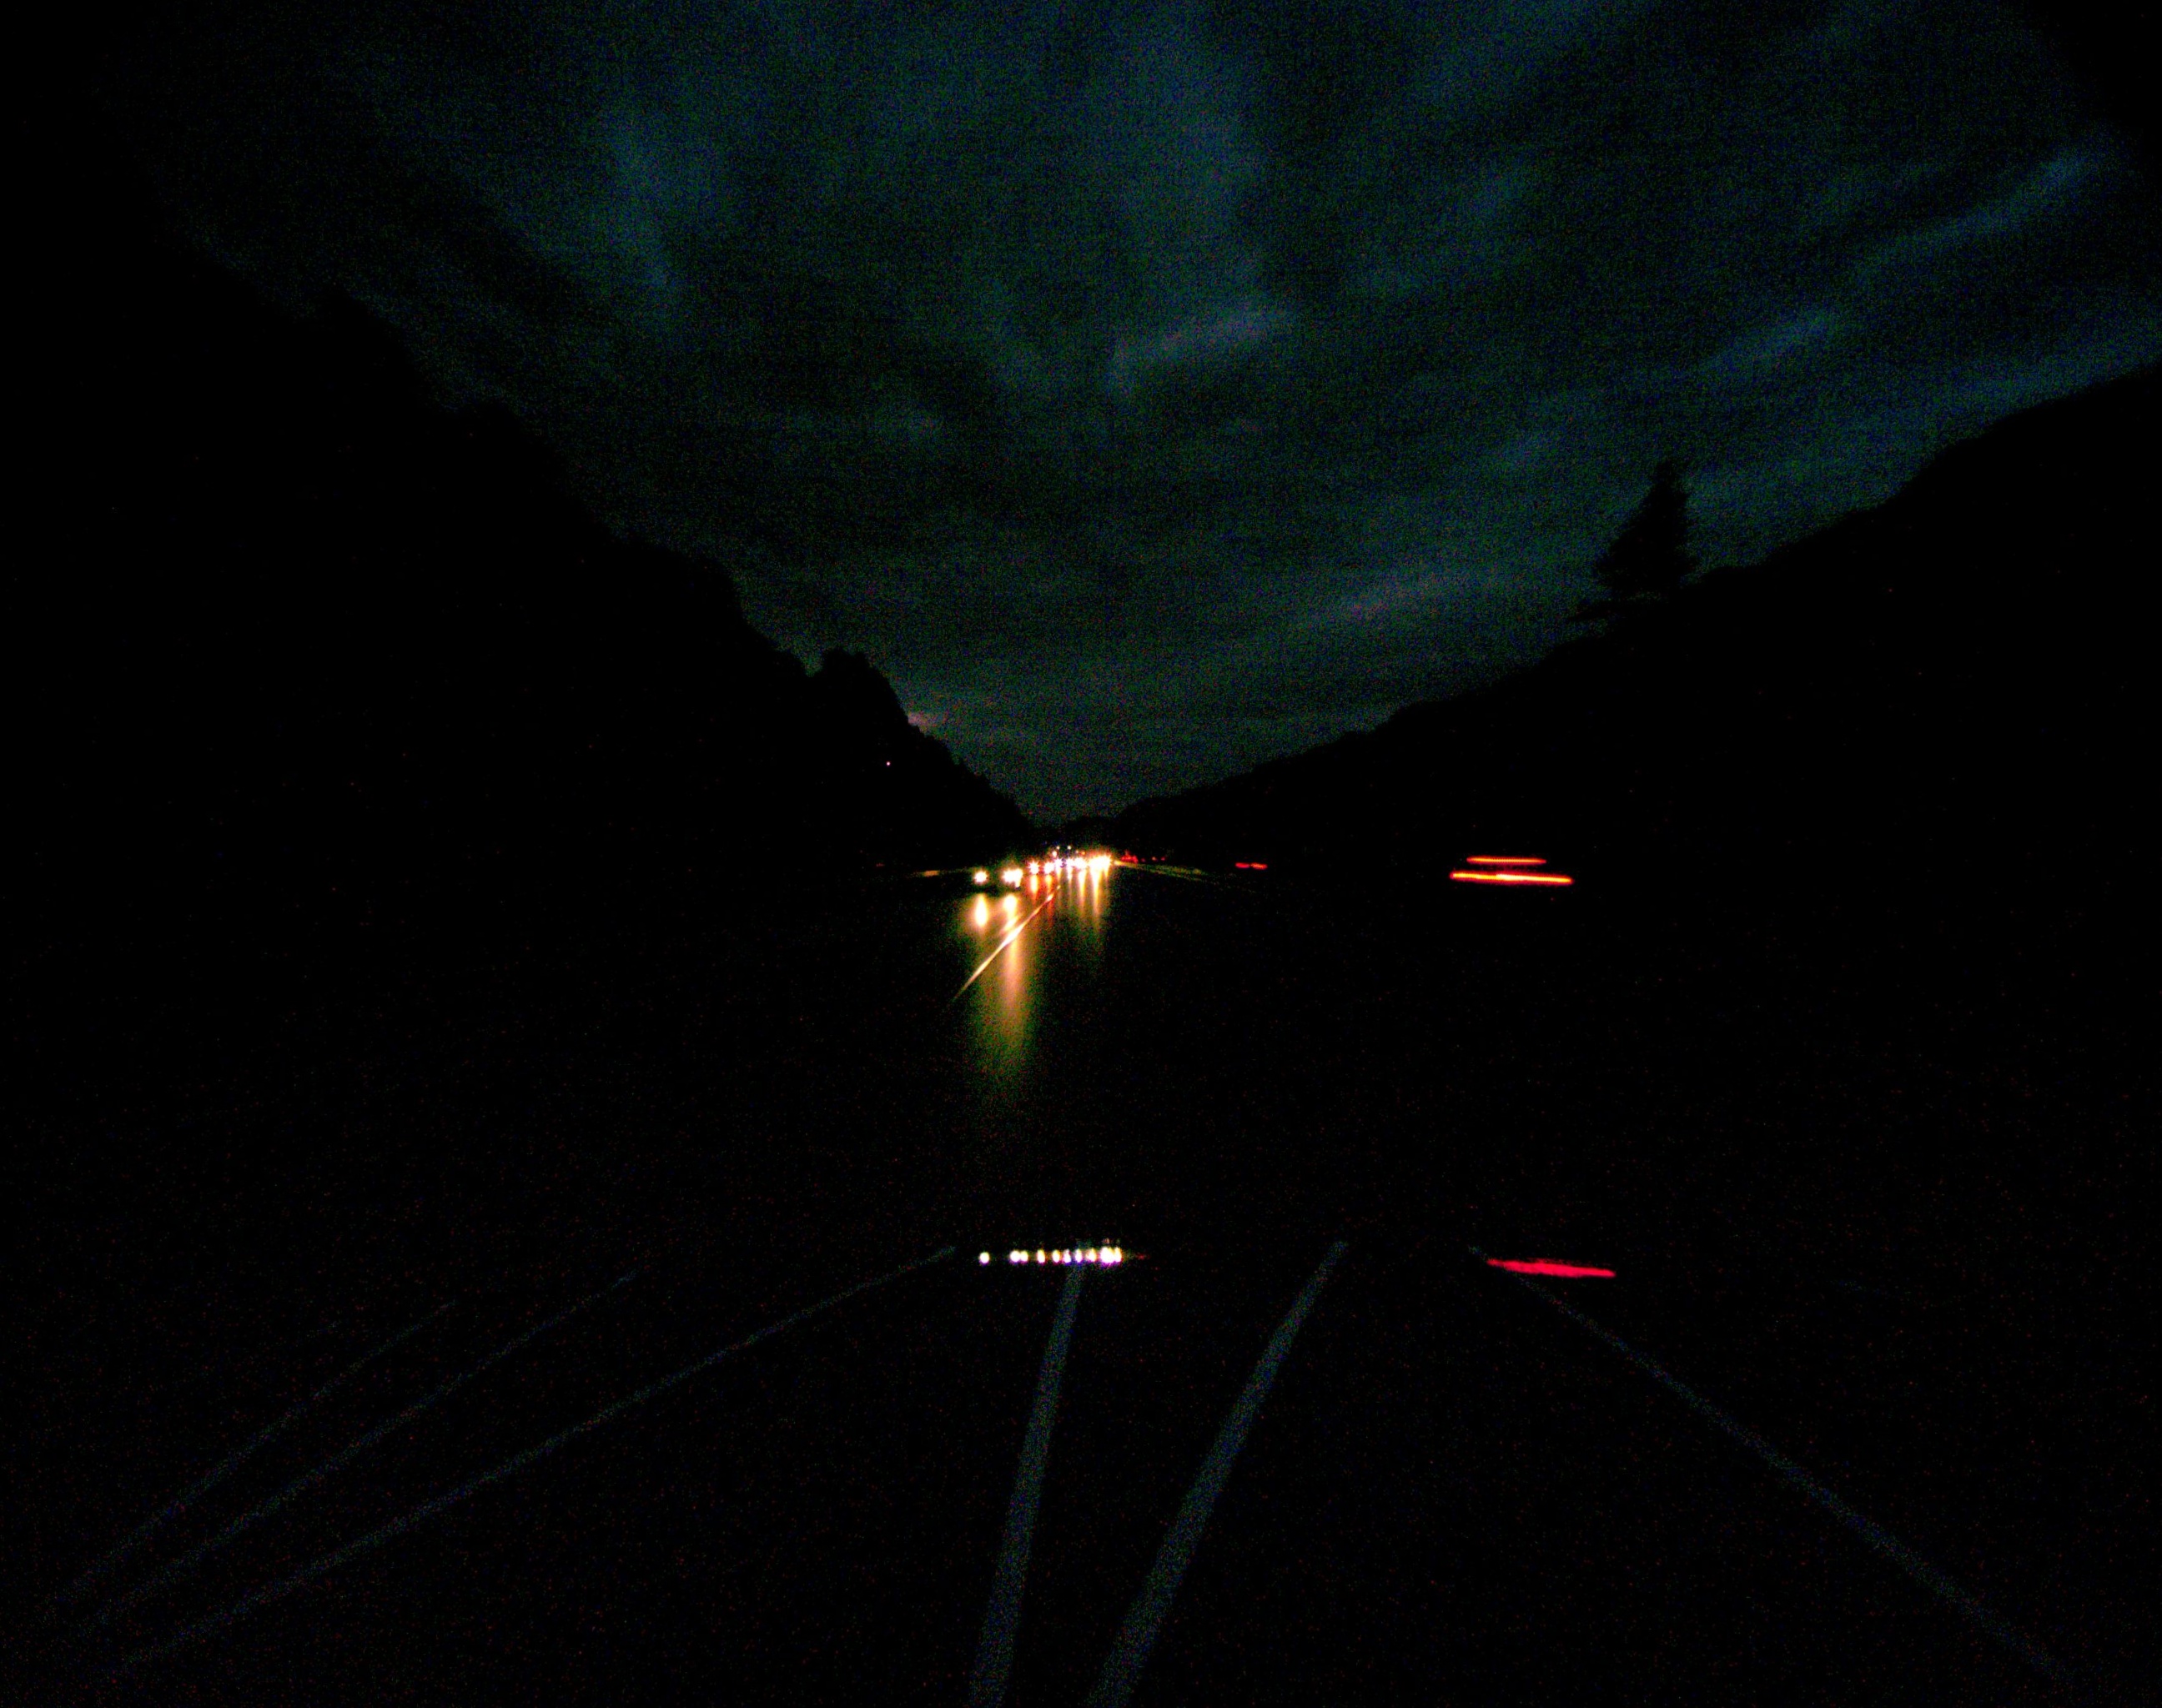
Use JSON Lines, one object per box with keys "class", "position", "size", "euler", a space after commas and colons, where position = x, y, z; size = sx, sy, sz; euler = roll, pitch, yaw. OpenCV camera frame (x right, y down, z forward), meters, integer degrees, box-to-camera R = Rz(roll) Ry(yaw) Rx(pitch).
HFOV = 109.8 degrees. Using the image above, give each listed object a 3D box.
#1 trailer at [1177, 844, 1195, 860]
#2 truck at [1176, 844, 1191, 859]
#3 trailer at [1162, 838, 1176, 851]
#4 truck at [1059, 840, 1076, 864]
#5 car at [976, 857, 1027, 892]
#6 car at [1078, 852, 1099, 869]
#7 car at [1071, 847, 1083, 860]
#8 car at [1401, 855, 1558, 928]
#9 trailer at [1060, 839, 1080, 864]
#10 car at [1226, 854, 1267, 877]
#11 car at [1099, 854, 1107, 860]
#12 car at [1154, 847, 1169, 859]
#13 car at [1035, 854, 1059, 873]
{"class": "trailer", "position": [28.663, -0.712, 207.735], "size": [3.198, 4.081, 14.183], "euler": [-1, 1, 2]}
{"class": "truck", "position": [28.801, -0.758, 214.116], "size": [3.198, 4.081, 7.689], "euler": [-1, 1, 2]}
{"class": "trailer", "position": [28.647, -3.195, 248.442], "size": [3.199, 4.081, 13.739], "euler": [-1, 1, 1]}
{"class": "truck", "position": [-2.333, -0.378, 130.409], "size": [2.497, 3.946, 5.590], "euler": [-2, 2, 2]}
{"class": "car", "position": [-3.690, 0.901, 36.026], "size": [1.870, 1.427, 4.583], "euler": [-2, 1, 0]}
{"class": "car", "position": [0.846, 0.648, 79.717], "size": [1.869, 1.701, 4.585], "euler": [-2, 1, 5]}
{"class": "car", "position": [-1.078, -0.288, 217.425], "size": [2.998, 3.659, 9.999], "euler": [-1, 1, 1]}
{"class": "car", "position": [11.654, 0.991, 22.710], "size": [1.935, 1.920, 5.111], "euler": [0, 0, -1]}
{"class": "trailer", "position": [-1.904, -0.582, 137.587], "size": [2.488, 4.050, 13.504], "euler": [-2, 2, 4]}
{"class": "car", "position": [11.911, 0.773, 55.051], "size": [1.921, 1.603, 5.159], "euler": [0, 0, 1]}
{"class": "car", "position": [5.286, 0.747, 182.346], "size": [1.695, 1.481, 4.948], "euler": [0, 1, 1]}
{"class": "car", "position": [17.752, -0.187, 167.511], "size": [2.319, 2.469, 7.519], "euler": [0, 0, 0]}
{"class": "car", "position": [-3.104, 0.934, 69.766], "size": [1.695, 1.480, 4.953], "euler": [-3, -3, 3]}
